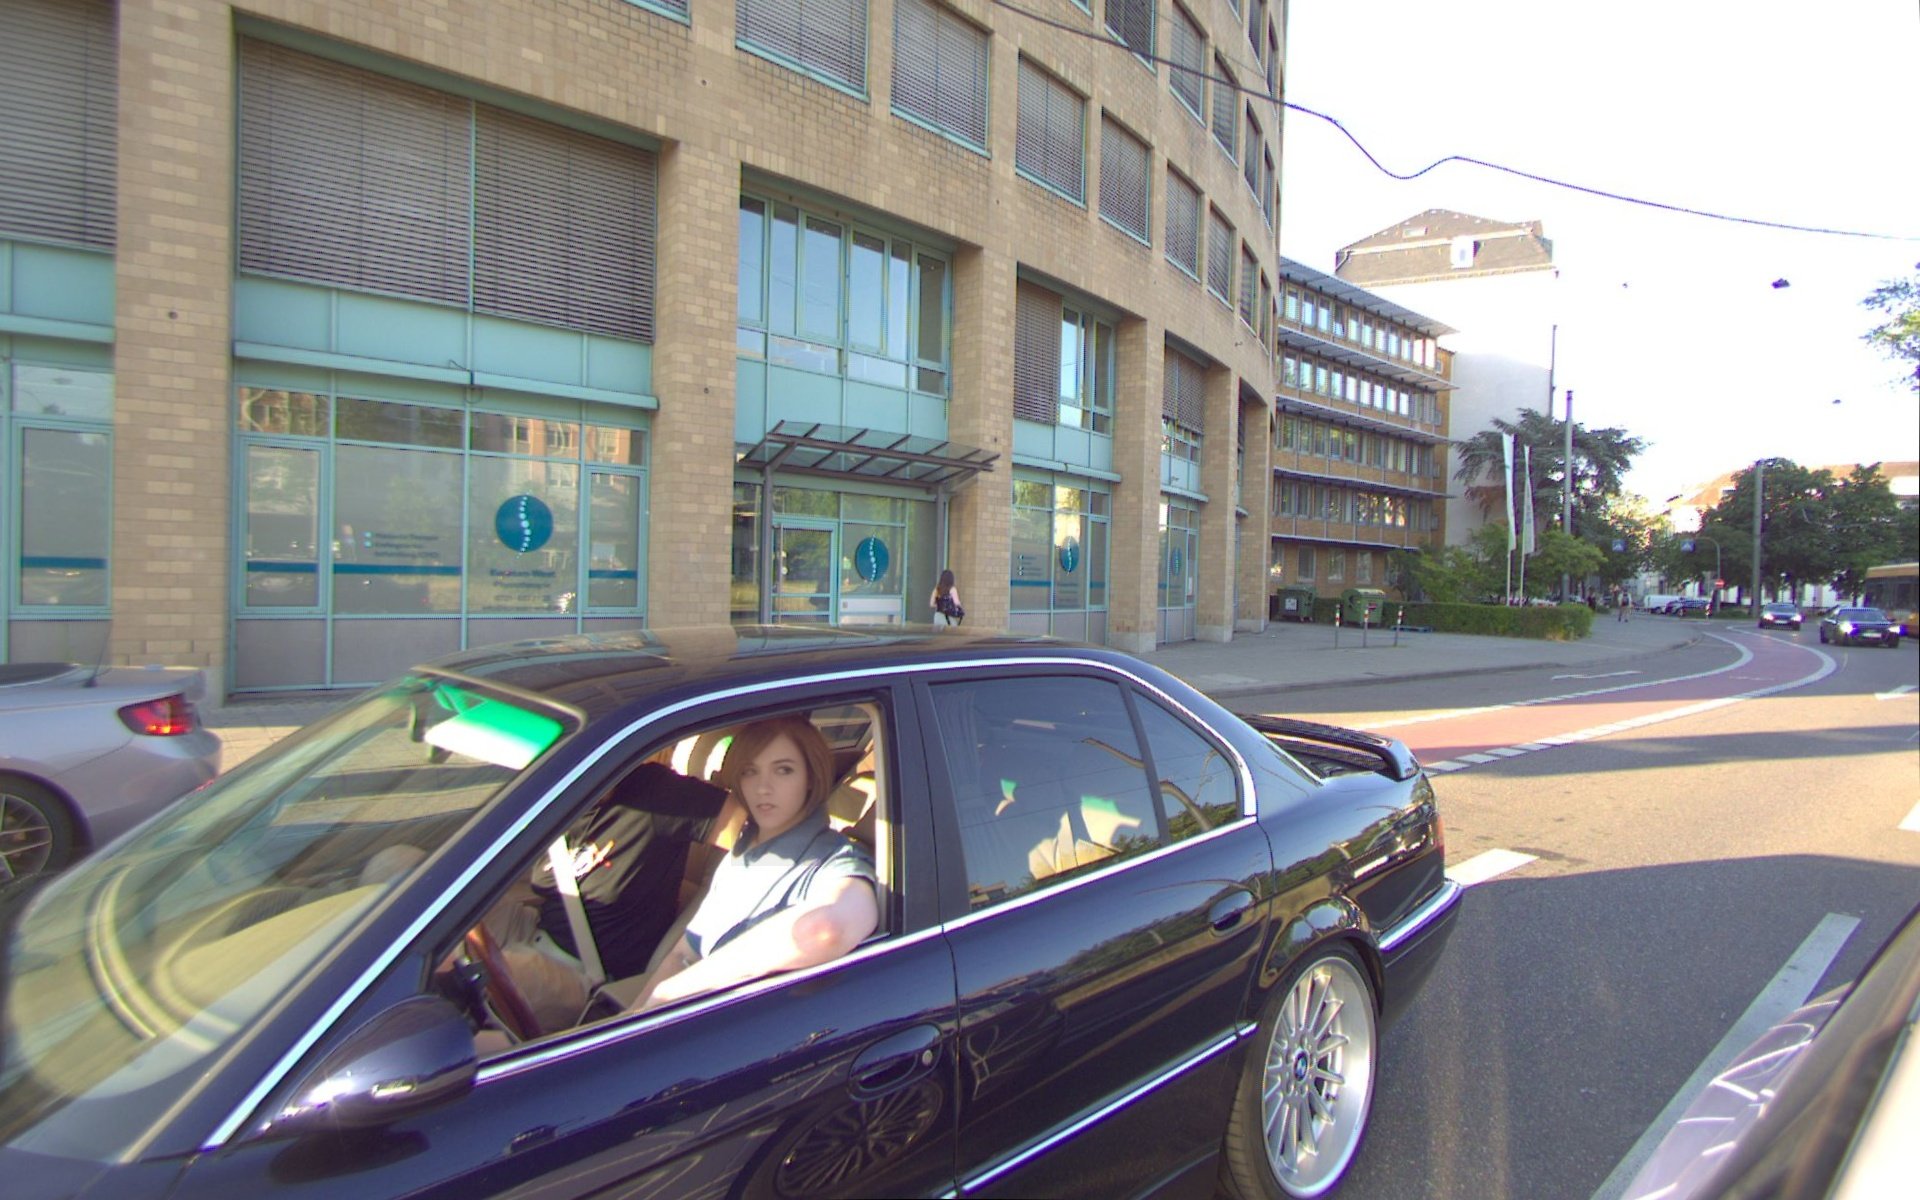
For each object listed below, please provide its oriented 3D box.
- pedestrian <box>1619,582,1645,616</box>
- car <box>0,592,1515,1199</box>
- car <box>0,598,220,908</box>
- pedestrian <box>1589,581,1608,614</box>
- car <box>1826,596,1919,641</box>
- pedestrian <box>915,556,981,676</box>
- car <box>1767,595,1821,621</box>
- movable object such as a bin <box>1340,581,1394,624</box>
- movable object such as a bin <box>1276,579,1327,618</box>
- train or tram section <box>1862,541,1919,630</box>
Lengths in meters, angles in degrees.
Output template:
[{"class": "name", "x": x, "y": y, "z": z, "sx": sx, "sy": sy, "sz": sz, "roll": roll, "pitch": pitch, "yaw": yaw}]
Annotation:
[{"class": "pedestrian", "x": 38.363, "y": -0.057, "z": 57.805, "sx": 0.899, "sy": 1.918, "sz": 1.121, "roll": 1, "pitch": 1, "yaw": 16}, {"class": "car", "x": -0.717, "y": 0.699, "z": 2.323, "sx": 4.656, "sy": 1.402, "sz": 1.997, "roll": 0, "pitch": 1, "yaw": -41}, {"class": "car", "x": -5.913, "y": 0.698, "z": 4.466, "sx": 4.153, "sy": 1.403, "sz": 1.746, "roll": 0, "pitch": 0, "yaw": -41}, {"class": "pedestrian", "x": 36.530, "y": -0.149, "z": 57.917, "sx": 0.711, "sy": 1.830, "sz": 0.728, "roll": 0, "pitch": 1, "yaw": -41}, {"class": "car", "x": 33.515, "y": 0.642, "z": 37.181, "sx": 1.986, "sy": 1.479, "sz": 4.095, "roll": 2, "pitch": 1, "yaw": 33}, {"class": "pedestrian", "x": -0.180, "y": 0.221, "z": 14.870, "sx": 0.702, "sy": 1.702, "sz": 0.626, "roll": 0, "pitch": 1, "yaw": -44}, {"class": "car", "x": 46.284, "y": 0.436, "z": 56.150, "sx": 3.932, "sy": 1.405, "sz": 1.756, "roll": 0, "pitch": -1, "yaw": -42}, {"class": "movable object such as a bin", "x": 14.867, "y": 0.074, "z": 36.954, "sx": 1.311, "sy": 1.477, "sz": 1.424, "roll": 0, "pitch": 1, "yaw": -45}, {"class": "movable object such as a bin", "x": 13.331, "y": -0.079, "z": 39.519, "sx": 1.310, "sy": 1.477, "sz": 1.425, "roll": 0, "pitch": 1, "yaw": -43}, {"class": "train or tram section", "x": 44.087, "y": -0.624, "z": 45.617, "sx": 2.892, "sy": 3.785, "sz": 12.055, "roll": 2, "pitch": 1, "yaw": 31}]
